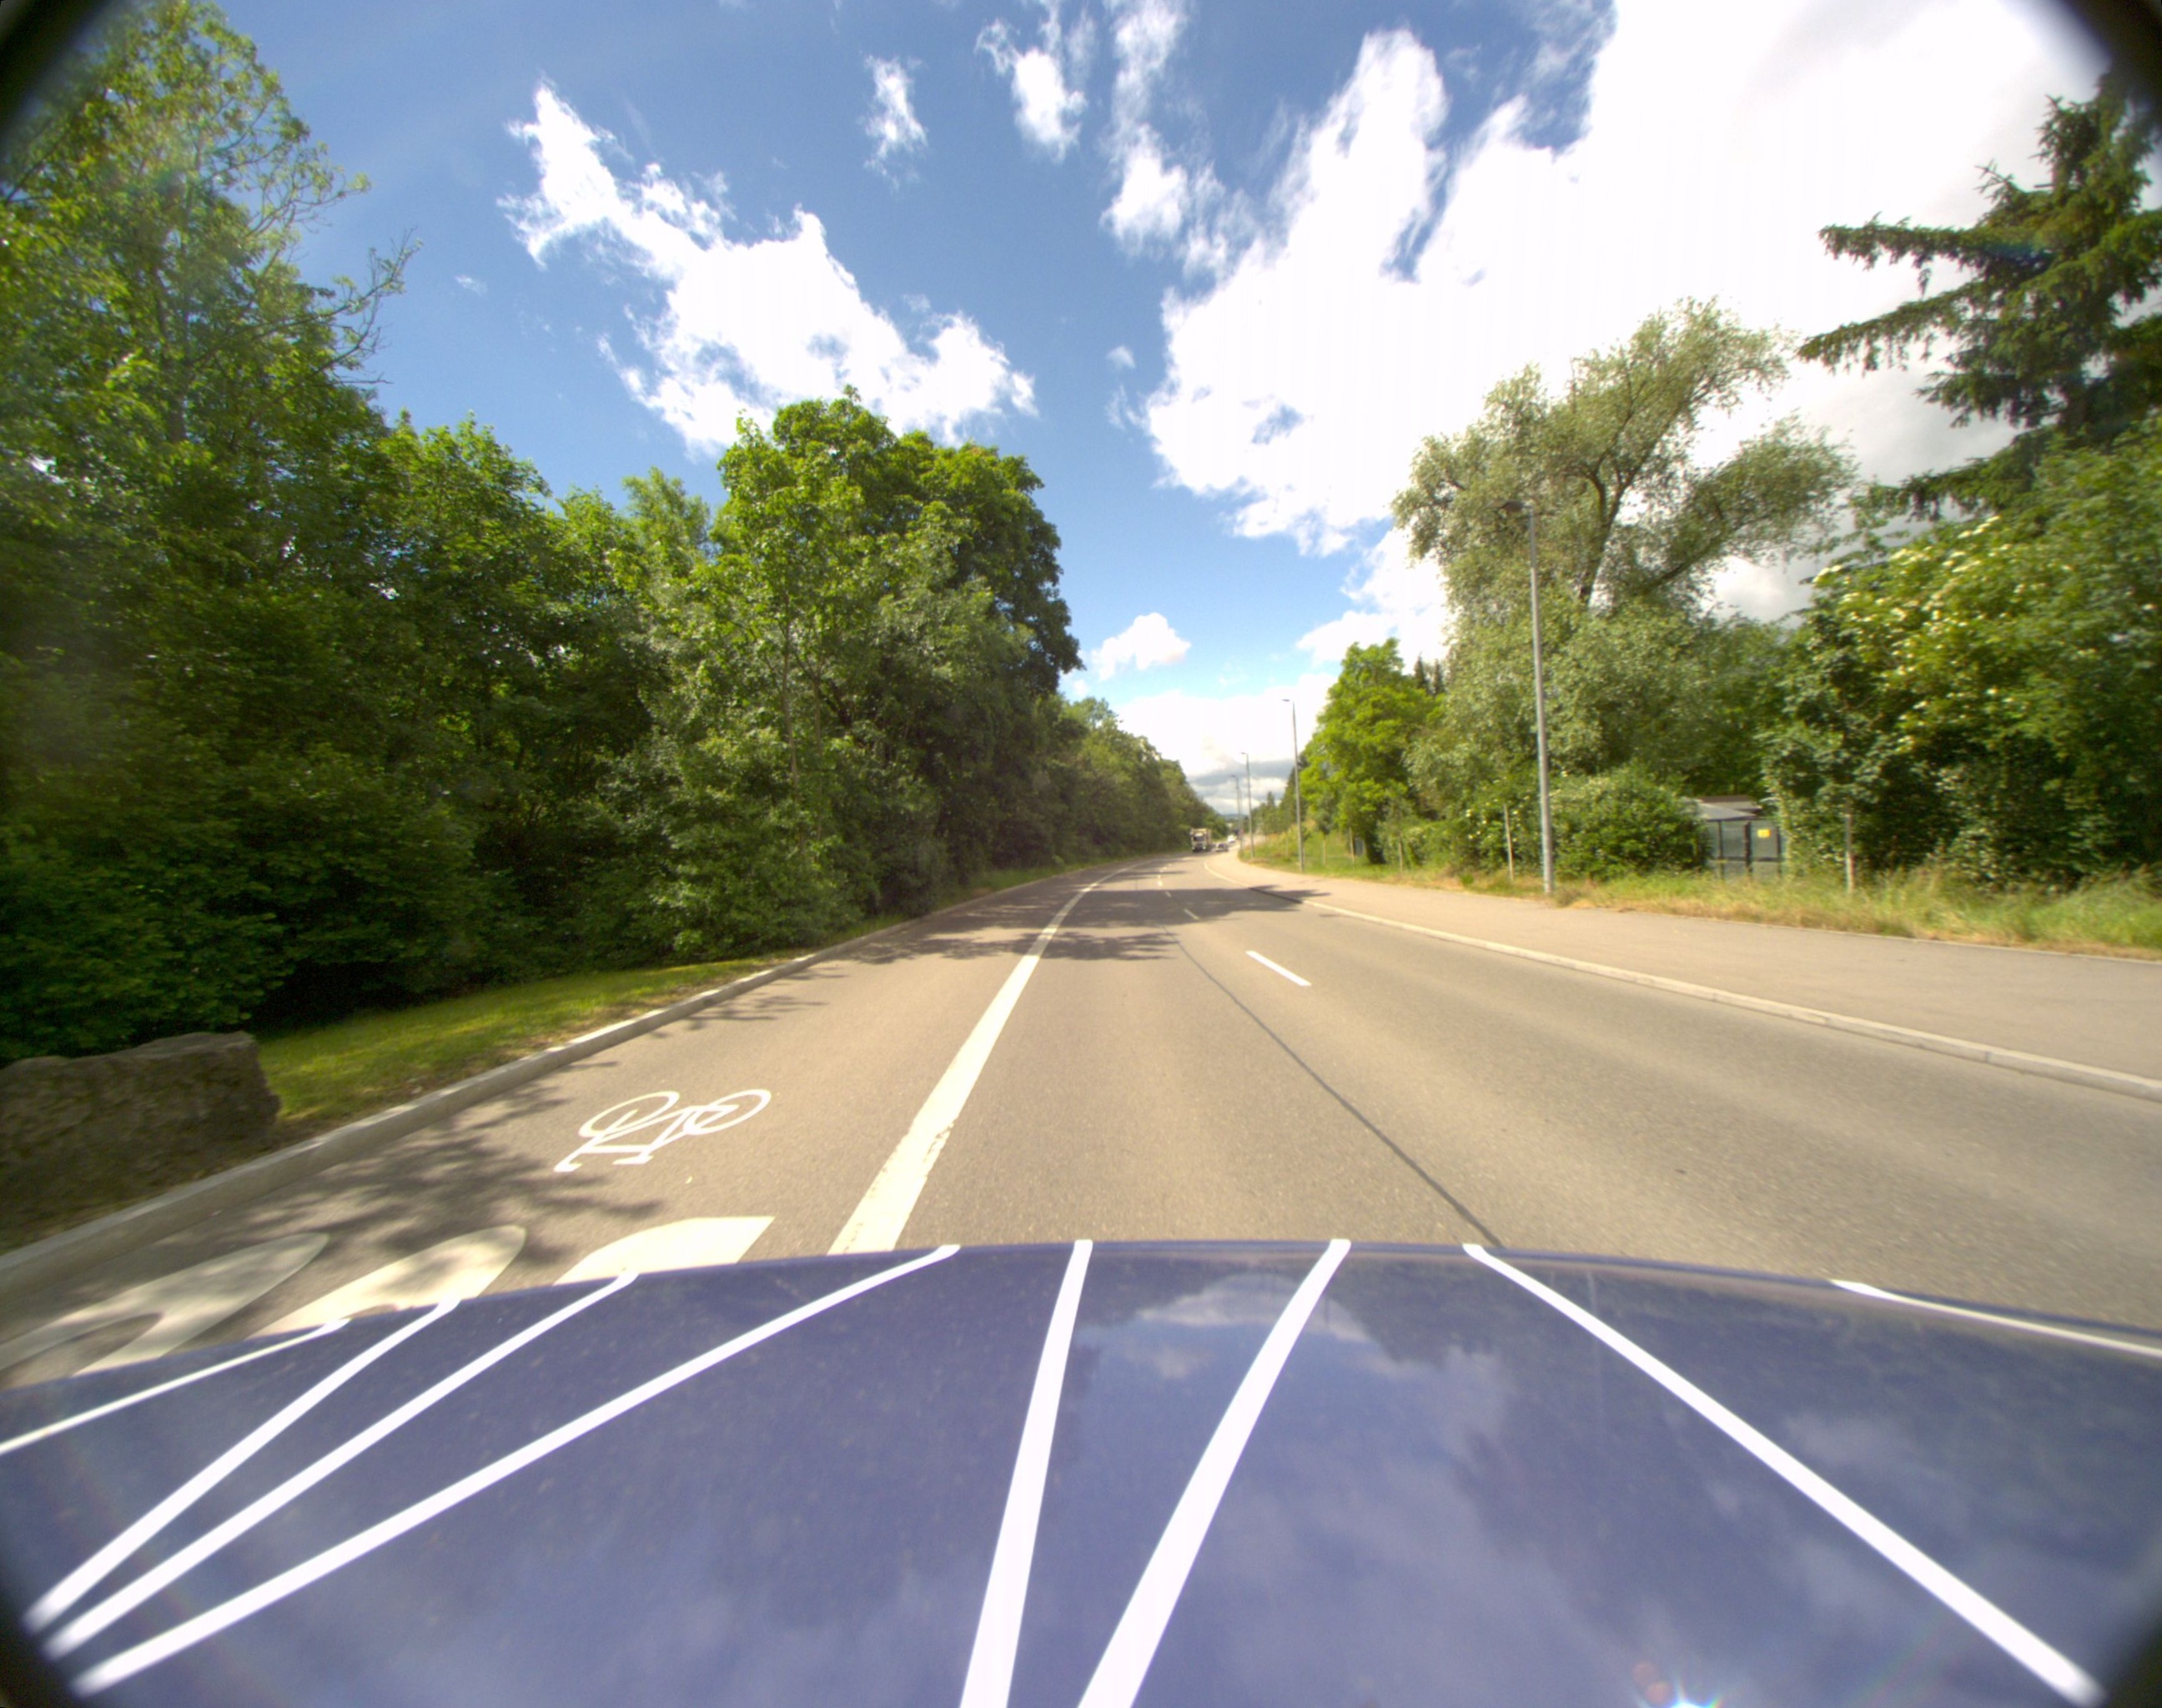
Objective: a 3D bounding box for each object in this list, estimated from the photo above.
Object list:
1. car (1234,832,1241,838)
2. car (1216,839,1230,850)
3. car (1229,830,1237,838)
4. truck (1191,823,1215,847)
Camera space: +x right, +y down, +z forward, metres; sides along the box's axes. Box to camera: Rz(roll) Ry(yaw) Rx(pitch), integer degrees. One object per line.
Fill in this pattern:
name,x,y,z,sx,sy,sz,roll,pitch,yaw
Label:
car,52.188,-6.327,253.113,1.997,2.002,4.003,-3,0,12
car,22.684,-1.574,121.150,1.801,1.652,4.004,-2,1,16
car,42.336,-5.505,211.402,1.997,2.212,4.003,-2,1,13
truck,20.356,-3.194,126.595,3.238,3.839,9.880,-2,1,13
